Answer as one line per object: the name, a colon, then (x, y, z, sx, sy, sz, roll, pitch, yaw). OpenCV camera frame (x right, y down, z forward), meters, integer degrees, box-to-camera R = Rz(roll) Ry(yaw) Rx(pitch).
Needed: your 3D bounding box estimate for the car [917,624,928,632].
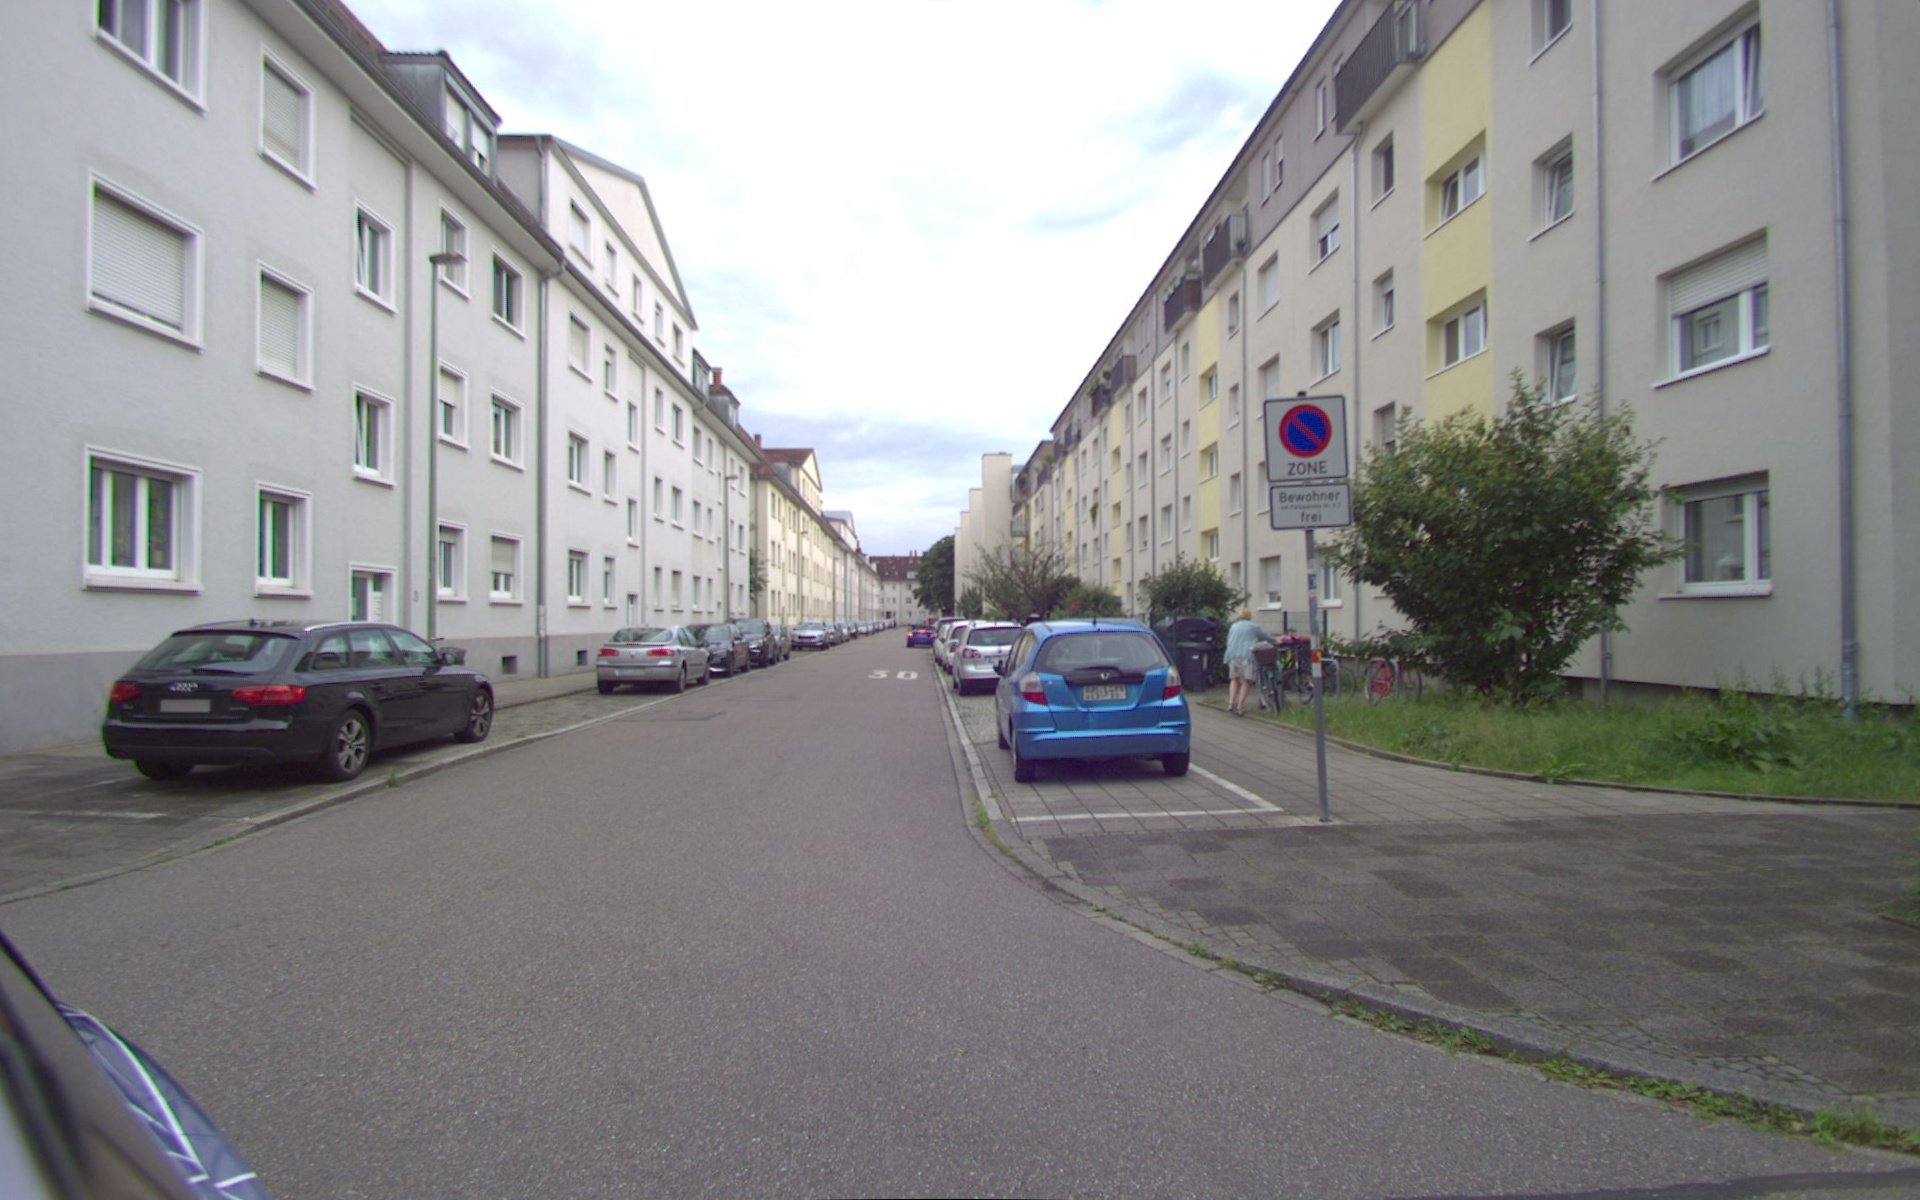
car: (-7.498, 5.634, 200.456, 1.718, 1.555, 3.644, 0, -2, -8)

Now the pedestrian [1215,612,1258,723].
pedestrian: (3.986, 0.967, 14.614, 0.442, 1.561, 0.567, 0, -3, 3)

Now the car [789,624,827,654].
car: (-8.112, 2.067, 54.333, 1.712, 1.559, 3.680, 0, -1, -4)

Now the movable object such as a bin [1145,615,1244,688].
movable object such as a bin: (4.804, 1.046, 20.915, 1.571, 1.432, 1.672, 0, -2, -3)

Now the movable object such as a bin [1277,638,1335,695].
movable object such as a bin: (6.600, 1.265, 19.315, 0.854, 1.059, 0.634, 0, -2, -3)

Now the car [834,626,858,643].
car: (-9.243, 2.804, 82.180, 1.712, 1.382, 4.221, 0, -2, -4)

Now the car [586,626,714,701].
car: (-6.663, 1.326, 22.216, 1.712, 1.474, 4.434, 0, -2, -4)

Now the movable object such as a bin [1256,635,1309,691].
movable object such as a bin: (6.569, 1.275, 20.634, 0.832, 1.125, 0.598, 0, -2, -4)

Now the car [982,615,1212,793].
car: (1.244, 0.965, 10.838, 1.711, 1.474, 3.958, -2, -2, -2)

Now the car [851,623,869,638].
car: (-9.997, 3.065, 101.355, 1.712, 1.463, 4.221, 0, -2, -4)

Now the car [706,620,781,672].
car: (-7.102, 1.491, 33.513, 1.826, 1.611, 4.163, 0, -2, -4)

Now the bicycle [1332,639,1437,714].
bicycle: (6.567, 1.151, 15.784, 0.650, 1.079, 2.175, 0, -2, -1)

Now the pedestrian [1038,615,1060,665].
pedestrian: (2.962, 1.329, 33.719, 0.607, 1.669, 0.803, 0, -2, -2)

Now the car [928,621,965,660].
car: (-0.693, 1.919, 48.641, 1.553, 1.794, 4.455, 0, -2, -3)

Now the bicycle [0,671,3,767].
bicycle: (-7.559, 1.043, 6.767, 0.561, 1.011, 1.889, 2, 0, -2)

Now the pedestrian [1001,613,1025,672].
pedestrian: (1.729, 1.392, 33.371, 0.633, 1.878, 0.974, -2, -2, -2)

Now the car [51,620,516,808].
car: (-6.402, 0.977, 10.418, 1.838, 1.474, 4.729, 1, -2, -4)

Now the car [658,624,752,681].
car: (-6.965, 1.408, 28.042, 1.761, 1.474, 4.326, 0, -2, -4)

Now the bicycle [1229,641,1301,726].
bicycle: (4.309, 1.154, 14.413, 0.531, 1.128, 1.816, 0, -2, 2)

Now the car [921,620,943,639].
car: (-3.104, 3.313, 112.368, 2.156, 2.047, 4.427, 0, -2, -5)

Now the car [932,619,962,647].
car: (-0.890, 2.156, 66.015, 1.682, 1.820, 3.546, 0, -2, -5)

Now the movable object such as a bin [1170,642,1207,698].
movable object such as a bin: (4.394, 1.338, 19.517, 0.530, 1.041, 0.598, 0, -2, -3)

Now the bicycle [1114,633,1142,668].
bicycle: (5.144, 1.526, 31.072, 0.473, 1.032, 1.756, 0, -2, -3)

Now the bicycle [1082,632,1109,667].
bicycle: (4.173, 1.522, 31.236, 0.482, 1.032, 1.879, 0, -2, -2)

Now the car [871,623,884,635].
car: (-11.447, 4.009, 140.154, 1.712, 1.692, 3.594, 0, -2, -4)

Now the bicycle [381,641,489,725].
bicycle: (-8.208, 1.262, 15.924, 0.740, 1.209, 1.896, 2, -2, -2)

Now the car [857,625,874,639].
car: (-10.378, 3.502, 111.134, 1.712, 1.463, 4.221, 0, -2, -4)

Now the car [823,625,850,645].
car: (-9.059, 2.587, 74.473, 1.712, 1.421, 4.221, 0, -2, -4)

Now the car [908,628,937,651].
car: (-2.225, 2.369, 60.482, 1.657, 1.325, 3.909, 0, -2, -1)

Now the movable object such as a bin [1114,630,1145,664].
movable object such as a bin: (5.905, 1.627, 35.267, 0.858, 1.117, 0.788, -1, 0, -6)

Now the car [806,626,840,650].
car: (-8.512, 2.336, 63.239, 1.712, 1.437, 4.220, 0, -2, -3)

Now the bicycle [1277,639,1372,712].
bicycle: (5.745, 1.160, 16.077, 0.650, 1.079, 2.175, 0, -2, -1)

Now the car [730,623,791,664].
car: (-7.557, 1.636, 38.563, 1.713, 1.498, 3.758, 0, -2, -2)

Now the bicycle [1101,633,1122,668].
bicycle: (4.650, 1.535, 31.144, 0.352, 1.032, 1.498, 0, -2, -3)

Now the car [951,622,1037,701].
car: (0.694, 1.327, 22.907, 1.635, 1.562, 3.916, -2, -2, -2)

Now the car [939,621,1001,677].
car: (0.252, 1.517, 31.844, 1.665, 1.651, 3.730, 0, -2, -4)

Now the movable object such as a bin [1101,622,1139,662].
movable object such as a bin: (5.723, 1.503, 36.334, 1.043, 1.385, 1.191, -1, 0, -7)

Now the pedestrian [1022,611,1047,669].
pedestrian: (2.422, 1.314, 33.035, 0.698, 1.868, 0.763, 0, -2, -2)

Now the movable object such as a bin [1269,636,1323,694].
movable object such as a bin: (6.619, 1.270, 19.971, 0.832, 1.125, 0.598, 0, -2, -4)

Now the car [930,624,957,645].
car: (-1.187, 2.478, 72.191, 1.682, 1.455, 3.546, 0, -2, -5)

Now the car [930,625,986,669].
car: (-0.139, 1.709, 37.437, 1.697, 1.521, 4.692, 0, -2, -5)

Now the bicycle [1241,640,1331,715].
bicycle: (5.005, 1.157, 15.676, 0.650, 1.076, 2.122, 0, -2, -1)
